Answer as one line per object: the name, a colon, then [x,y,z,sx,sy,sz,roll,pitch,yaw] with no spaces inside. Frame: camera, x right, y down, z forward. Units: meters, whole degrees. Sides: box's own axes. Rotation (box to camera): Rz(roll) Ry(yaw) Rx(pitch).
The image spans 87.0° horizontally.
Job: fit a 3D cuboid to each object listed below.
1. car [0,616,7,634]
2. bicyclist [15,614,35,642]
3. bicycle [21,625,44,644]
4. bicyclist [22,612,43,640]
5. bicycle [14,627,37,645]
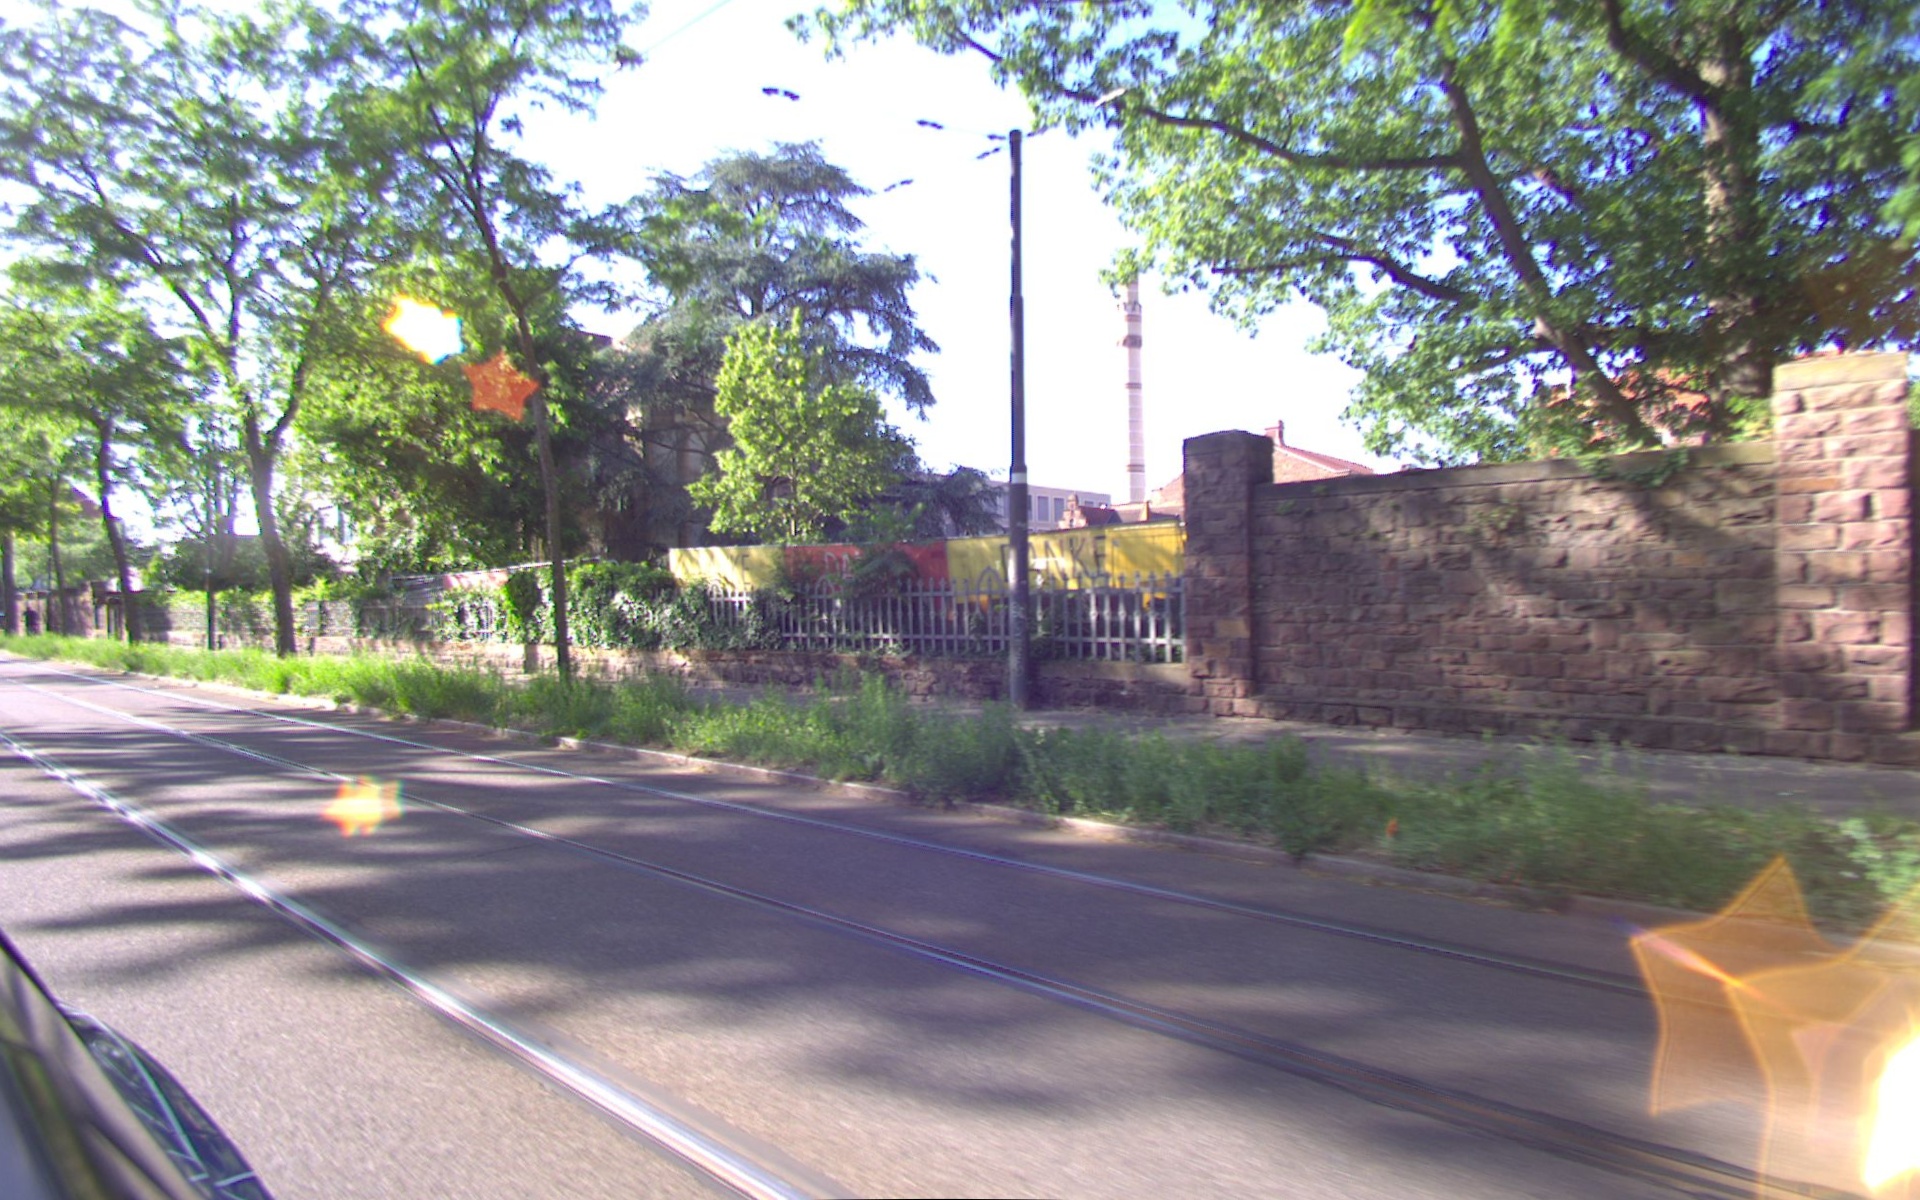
car: [-86.899,2.272,90.745,4.033,1.535,1.730,-1,0,41]
bicyclist: [-50.465,1.487,54.630,1.041,1.481,0.700,-1,0,42]
bicycle: [-52.045,1.921,56.801,1.888,0.981,0.710,0,2,42]
bicyclist: [-52.067,1.477,56.786,0.956,1.510,0.702,0,2,41]
bicycle: [-50.405,1.932,54.588,2.094,0.967,0.703,-1,0,42]
